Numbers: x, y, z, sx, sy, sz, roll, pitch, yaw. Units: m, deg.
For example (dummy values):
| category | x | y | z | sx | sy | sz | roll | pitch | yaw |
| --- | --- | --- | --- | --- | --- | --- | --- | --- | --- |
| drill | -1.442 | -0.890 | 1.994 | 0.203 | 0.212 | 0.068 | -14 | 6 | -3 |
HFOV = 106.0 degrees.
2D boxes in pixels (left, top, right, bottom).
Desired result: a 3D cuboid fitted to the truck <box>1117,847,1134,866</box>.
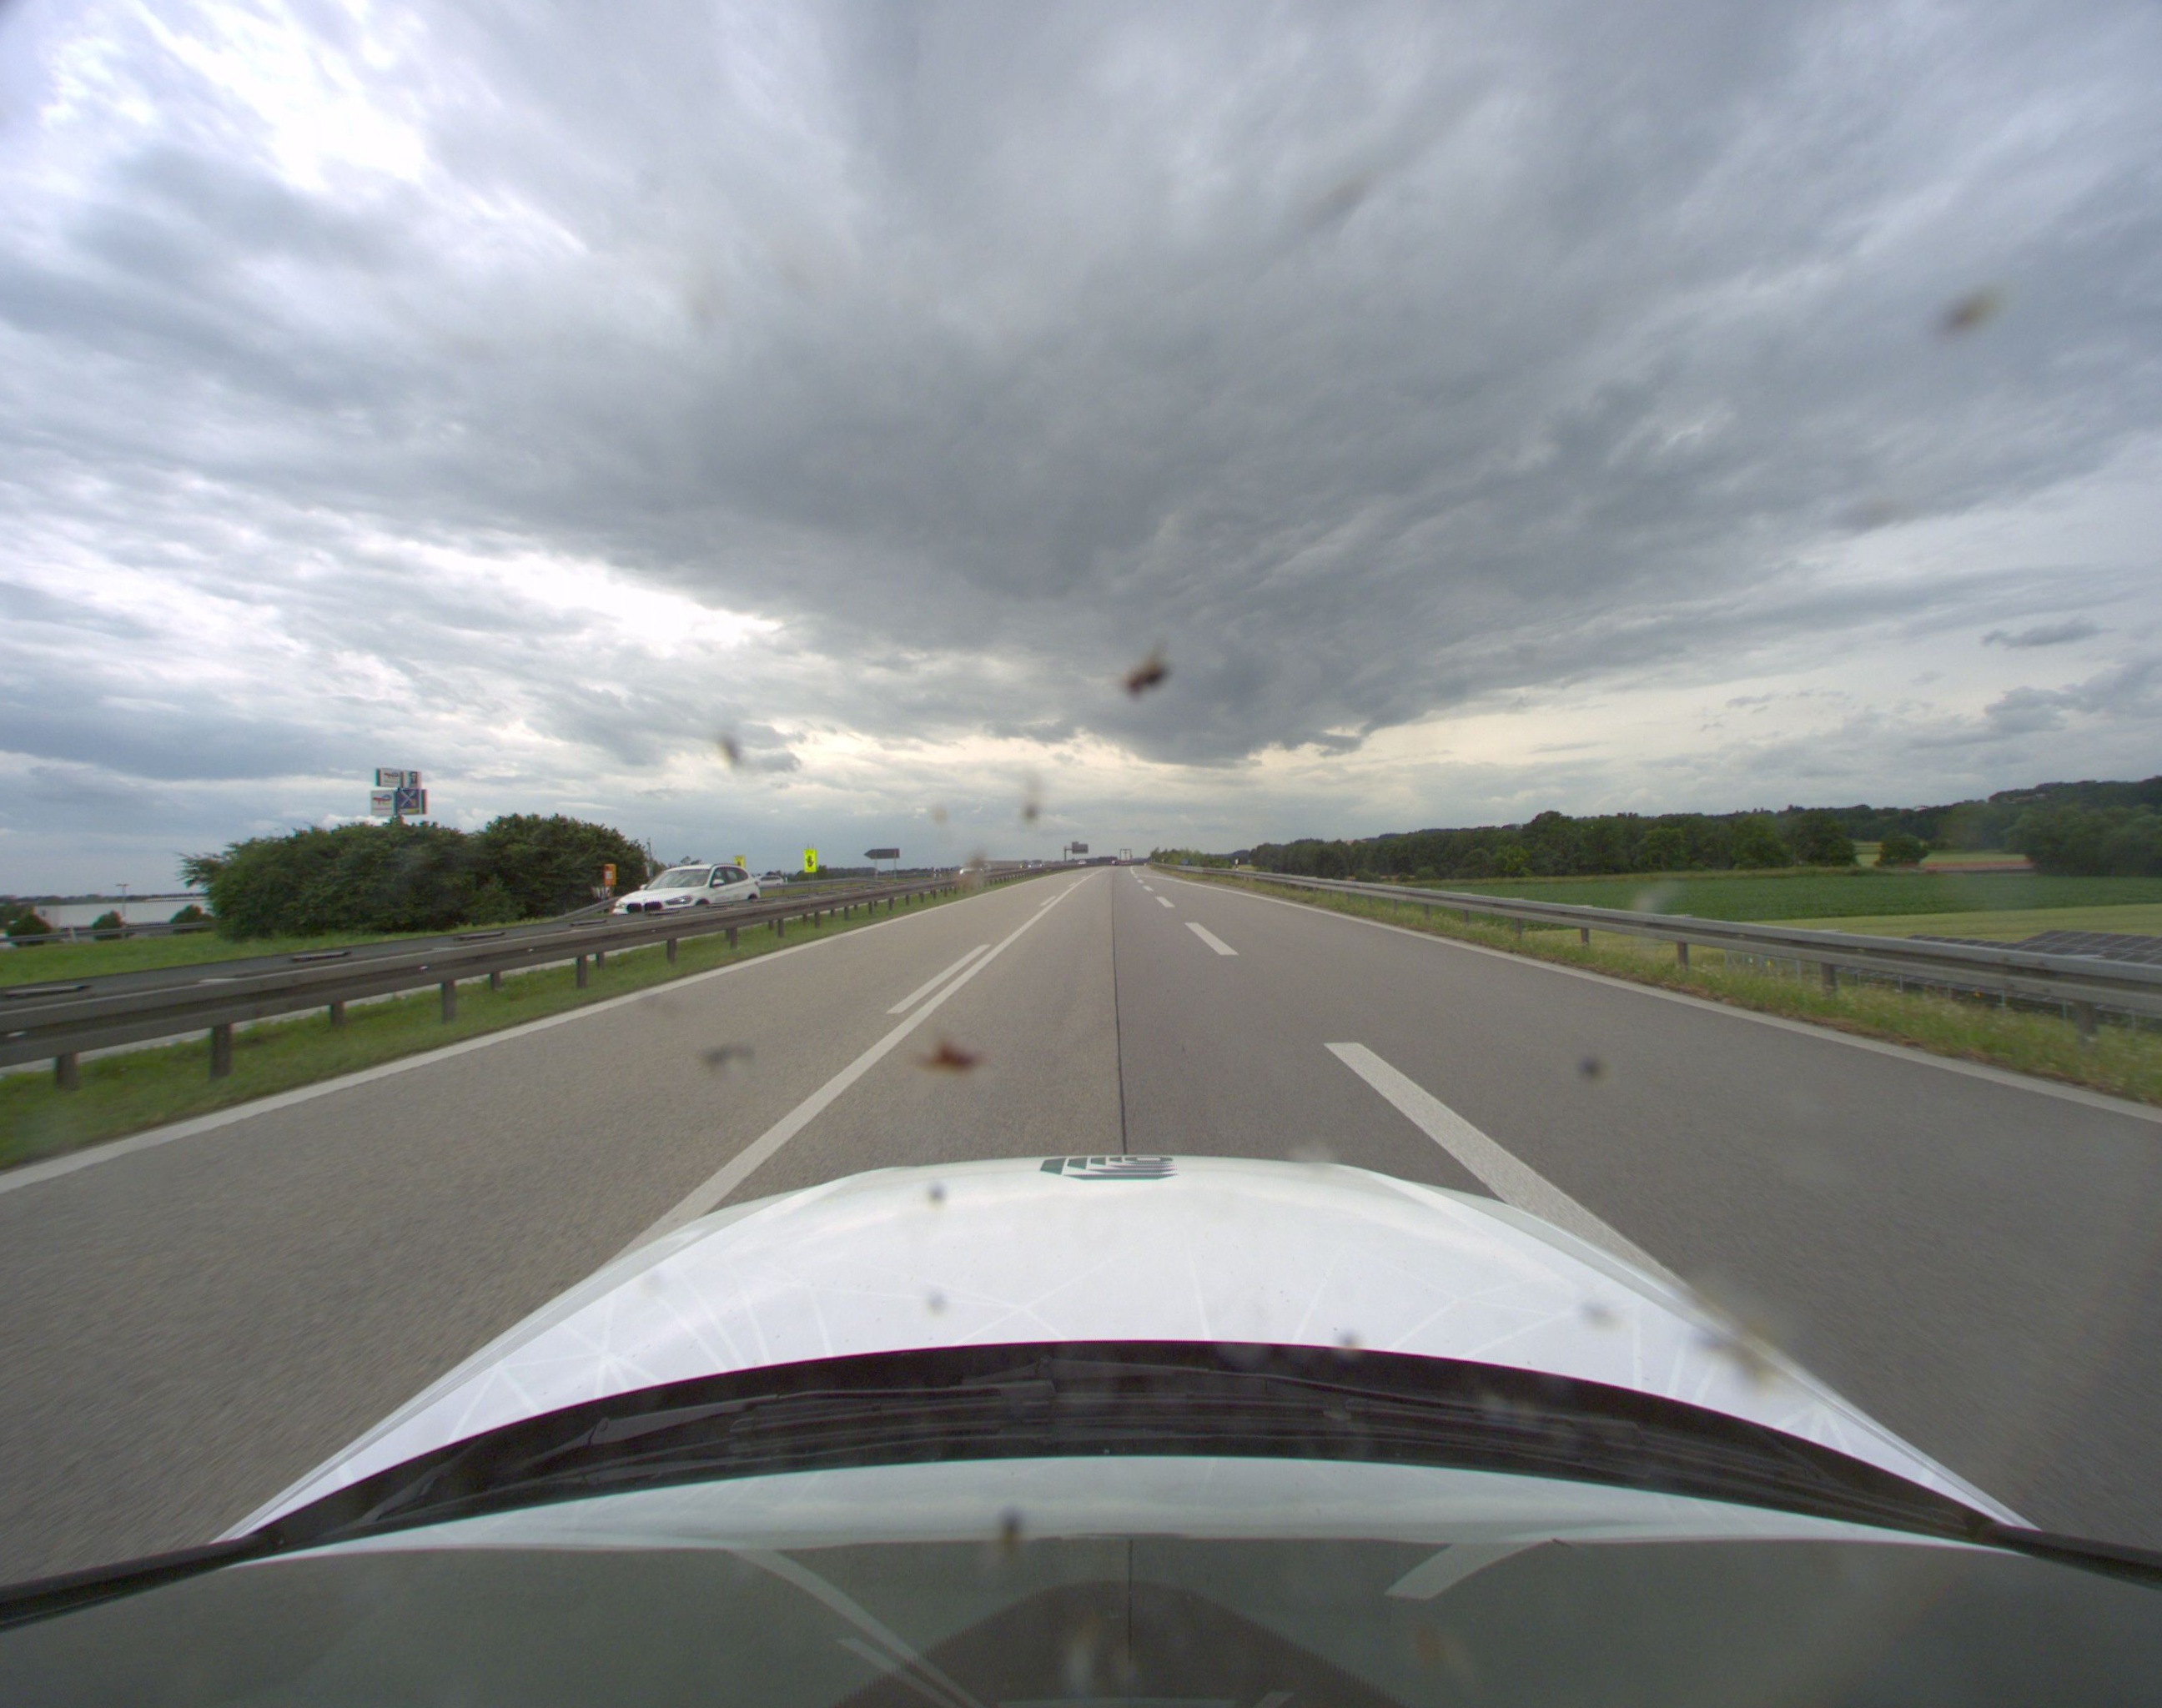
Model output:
| category | x | y | z | sx | sy | sz | roll | pitch | yaw |
| --- | --- | --- | --- | --- | --- | --- | --- | --- | --- |
| truck | 11.348 | 0.684 | 205.742 | 3.655 | 4.413 | 16.359 | -2 | -2 | 5 |

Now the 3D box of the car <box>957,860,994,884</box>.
| category | x | y | z | sx | sy | sz | roll | pitch | yaw |
| --- | --- | --- | --- | --- | --- | --- | --- | --- | --- |
| car | -7.804 | 1.285 | 60.728 | 1.884 | 1.588 | 4.764 | -3 | 0 | 2 |

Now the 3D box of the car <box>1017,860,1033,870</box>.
| category | x | y | z | sx | sy | sz | roll | pitch | yaw |
| --- | --- | --- | --- | --- | --- | --- | --- | --- | --- |
| car | -8.231 | 1.619 | 119.692 | 1.793 | 1.393 | 4.002 | 4 | 0 | 2 |

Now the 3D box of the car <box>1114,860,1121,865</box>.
| category | x | y | z | sx | sy | sz | roll | pitch | yaw |
| --- | --- | --- | --- | --- | --- | --- | --- | --- | --- |
| car | 11.200 | 2.677 | 250.117 | 1.986 | 1.420 | 4.001 | -1 | 0 | 2 |

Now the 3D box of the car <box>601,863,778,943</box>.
| category | x | y | z | sx | sy | sz | roll | pitch | yaw |
| --- | --- | --- | --- | --- | --- | --- | --- | --- | --- |
| car | -9.392 | 1.093 | 20.083 | 1.847 | 1.588 | 4.818 | -3 | 0 | 2 |

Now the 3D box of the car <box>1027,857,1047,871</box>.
| category | x | y | z | sx | sy | sz | roll | pitch | yaw |
| --- | --- | --- | --- | --- | --- | --- | --- | --- | --- |
| car | -5.634 | 1.283 | 105.210 | 2.128 | 1.588 | 5.001 | -3 | 0 | 2 |
